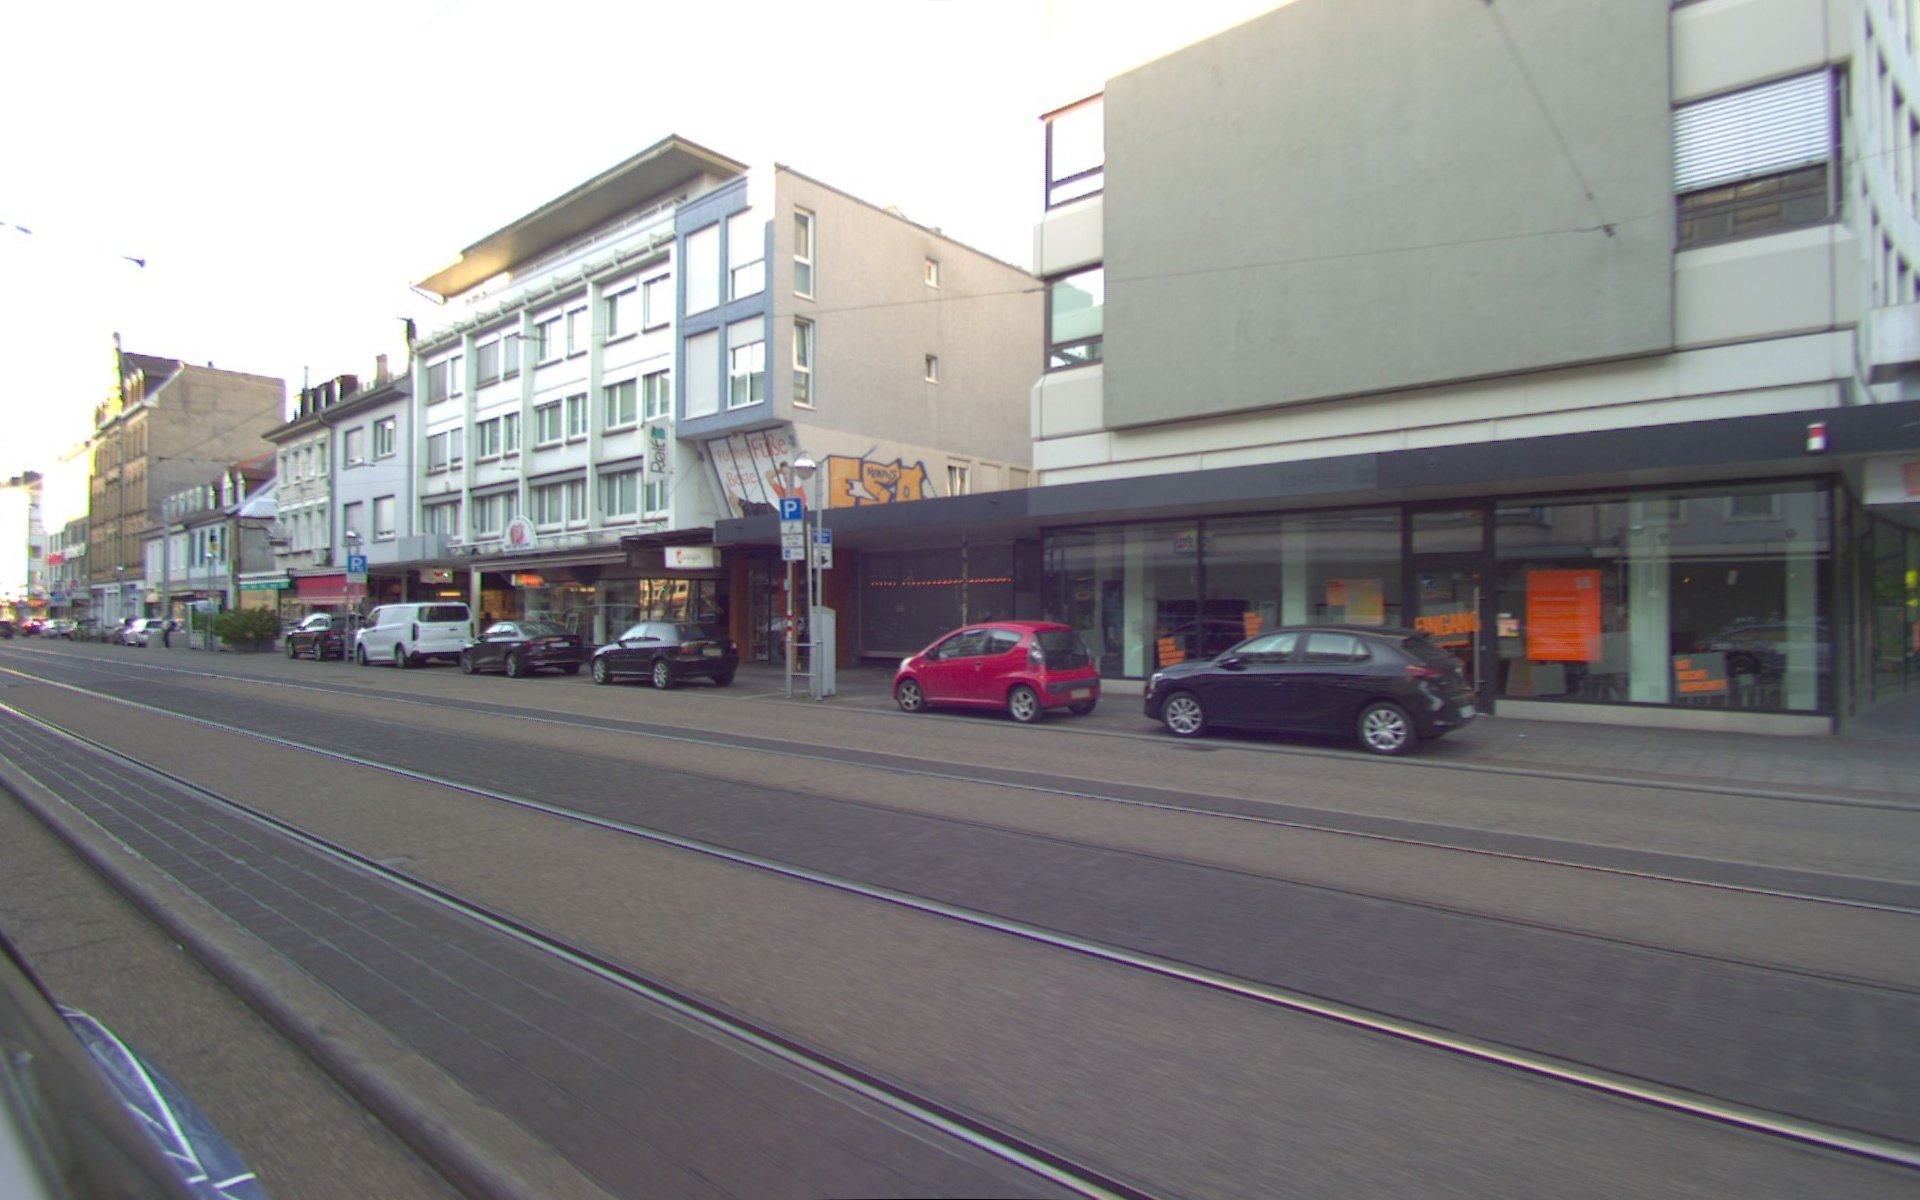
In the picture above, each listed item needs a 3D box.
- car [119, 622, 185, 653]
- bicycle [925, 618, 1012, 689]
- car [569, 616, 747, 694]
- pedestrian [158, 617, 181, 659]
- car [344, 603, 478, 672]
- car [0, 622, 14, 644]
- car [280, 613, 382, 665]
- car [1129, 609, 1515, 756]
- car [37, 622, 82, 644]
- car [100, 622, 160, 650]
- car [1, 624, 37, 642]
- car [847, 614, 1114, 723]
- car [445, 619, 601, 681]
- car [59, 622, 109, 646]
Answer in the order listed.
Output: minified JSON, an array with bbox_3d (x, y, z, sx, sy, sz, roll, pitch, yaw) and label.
[{"bbox_3d":[-43.435,1.998,54.364,4.876,1.556,1.972,-1,-1,42],"label":"car"},{"bbox_3d":[0.202,1.113,21.500,0.833,1.436,1.949,-1,-2,39],"label":"bicycle"},{"bbox_3d":[-6.780,1.159,22.449,4.444,1.523,1.668,-1,0,41],"label":"car"},{"bbox_3d":[-38.627,1.844,49.445,0.811,2.029,0.714,1,-2,-34],"label":"pedestrian"},{"bbox_3d":[-17.277,1.156,31.738,5.159,1.992,1.935,-1,-2,40],"label":"car"},{"bbox_3d":[-70.722,2.409,73.881,3.998,1.564,1.973,-1,-2,41],"label":"car"},{"bbox_3d":[-22.762,1.358,36.576,4.524,1.734,1.839,-1,-1,40],"label":"car"},{"bbox_3d":[4.363,0.901,12.616,4.213,1.523,1.668,-1,-1,42],"label":"car"},{"bbox_3d":[-67.566,2.458,75.943,4.204,1.564,1.973,-1,-2,41],"label":"car"},{"bbox_3d":[-47.622,2.055,58.037,4.550,1.556,1.889,-1,-2,41],"label":"car"},{"bbox_3d":[-83.621,2.901,89.918,3.998,1.564,1.973,-1,-2,41],"label":"car"},{"bbox_3d":[0.230,1.002,16.222,4.213,1.523,1.668,-1,-1,42],"label":"car"},{"bbox_3d":[-11.610,1.267,26.770,4.555,1.477,1.973,-1,-1,40],"label":"car"},{"bbox_3d":[-58.905,2.250,68.028,3.998,1.564,1.973,-1,-2,41],"label":"car"}]
